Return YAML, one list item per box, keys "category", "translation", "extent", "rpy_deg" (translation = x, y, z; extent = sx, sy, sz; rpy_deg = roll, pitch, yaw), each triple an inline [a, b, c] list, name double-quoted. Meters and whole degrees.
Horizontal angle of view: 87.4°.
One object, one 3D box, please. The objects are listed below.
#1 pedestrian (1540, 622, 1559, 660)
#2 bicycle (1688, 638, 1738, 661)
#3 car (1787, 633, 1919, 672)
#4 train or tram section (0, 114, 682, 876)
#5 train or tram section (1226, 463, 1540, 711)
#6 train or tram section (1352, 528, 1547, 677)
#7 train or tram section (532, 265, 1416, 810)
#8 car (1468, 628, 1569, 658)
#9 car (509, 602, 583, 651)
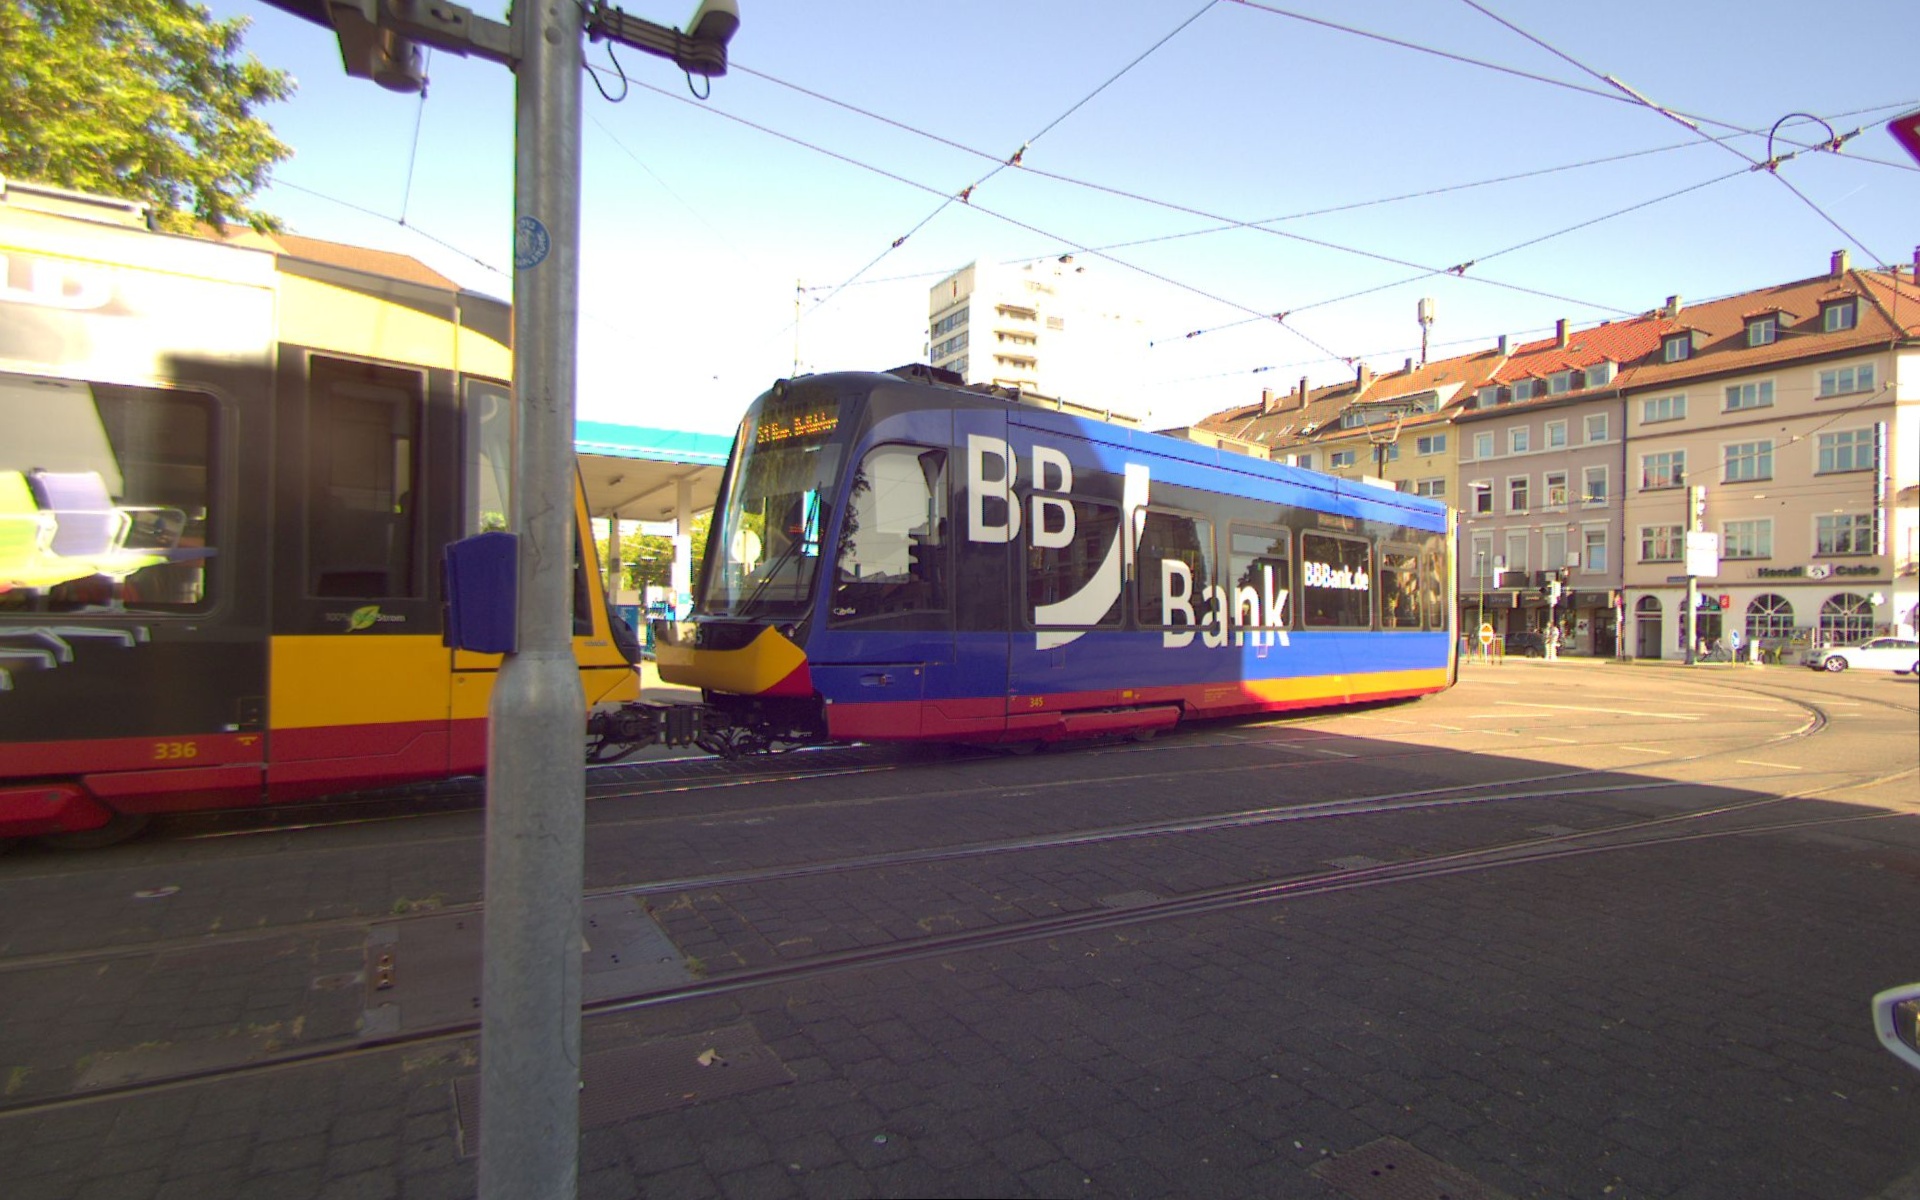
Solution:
- category: "pedestrian"
  translation: [26.267, 1.811, 44.770]
  extent: [0.714, 1.648, 0.670]
  rpy_deg: [0, -1, 29]
- category: "bicycle"
  translation: [37.646, 2.480, 50.261]
  extent: [0.578, 1.081, 1.929]
  rpy_deg: [1, -1, -36]
- category: "car"
  translation: [35.269, 2.027, 39.216]
  extent: [4.139, 1.373, 2.000]
  rpy_deg: [0, -1, 21]
- category: "train or tram section"
  translation: [-7.656, -0.553, 4.566]
  extent: [11.990, 3.661, 3.036]
  rpy_deg: [2, -1, -34]
- category: "train or tram section"
  translation: [9.360, -0.054, 20.721]
  extent: [3.016, 3.661, 12.455]
  rpy_deg: [0, -1, 37]
- category: "train or tram section"
  translation: [14.488, 0.177, 30.988]
  extent: [3.003, 3.661, 12.121]
  rpy_deg: [1, -1, 14]
- category: "train or tram section"
  translation: [1.552, -0.281, 12.058]
  extent: [12.034, 3.661, 3.025]
  rpy_deg: [2, -1, -44]
- category: "car"
  translation: [30.559, 2.330, 55.080]
  extent: [1.725, 1.459, 4.614]
  rpy_deg: [2, -1, -32]
- category: "car"
  translation: [-13.632, 0.851, 32.967]
  extent: [1.697, 1.506, 4.186]
  rpy_deg: [1, -1, -30]
